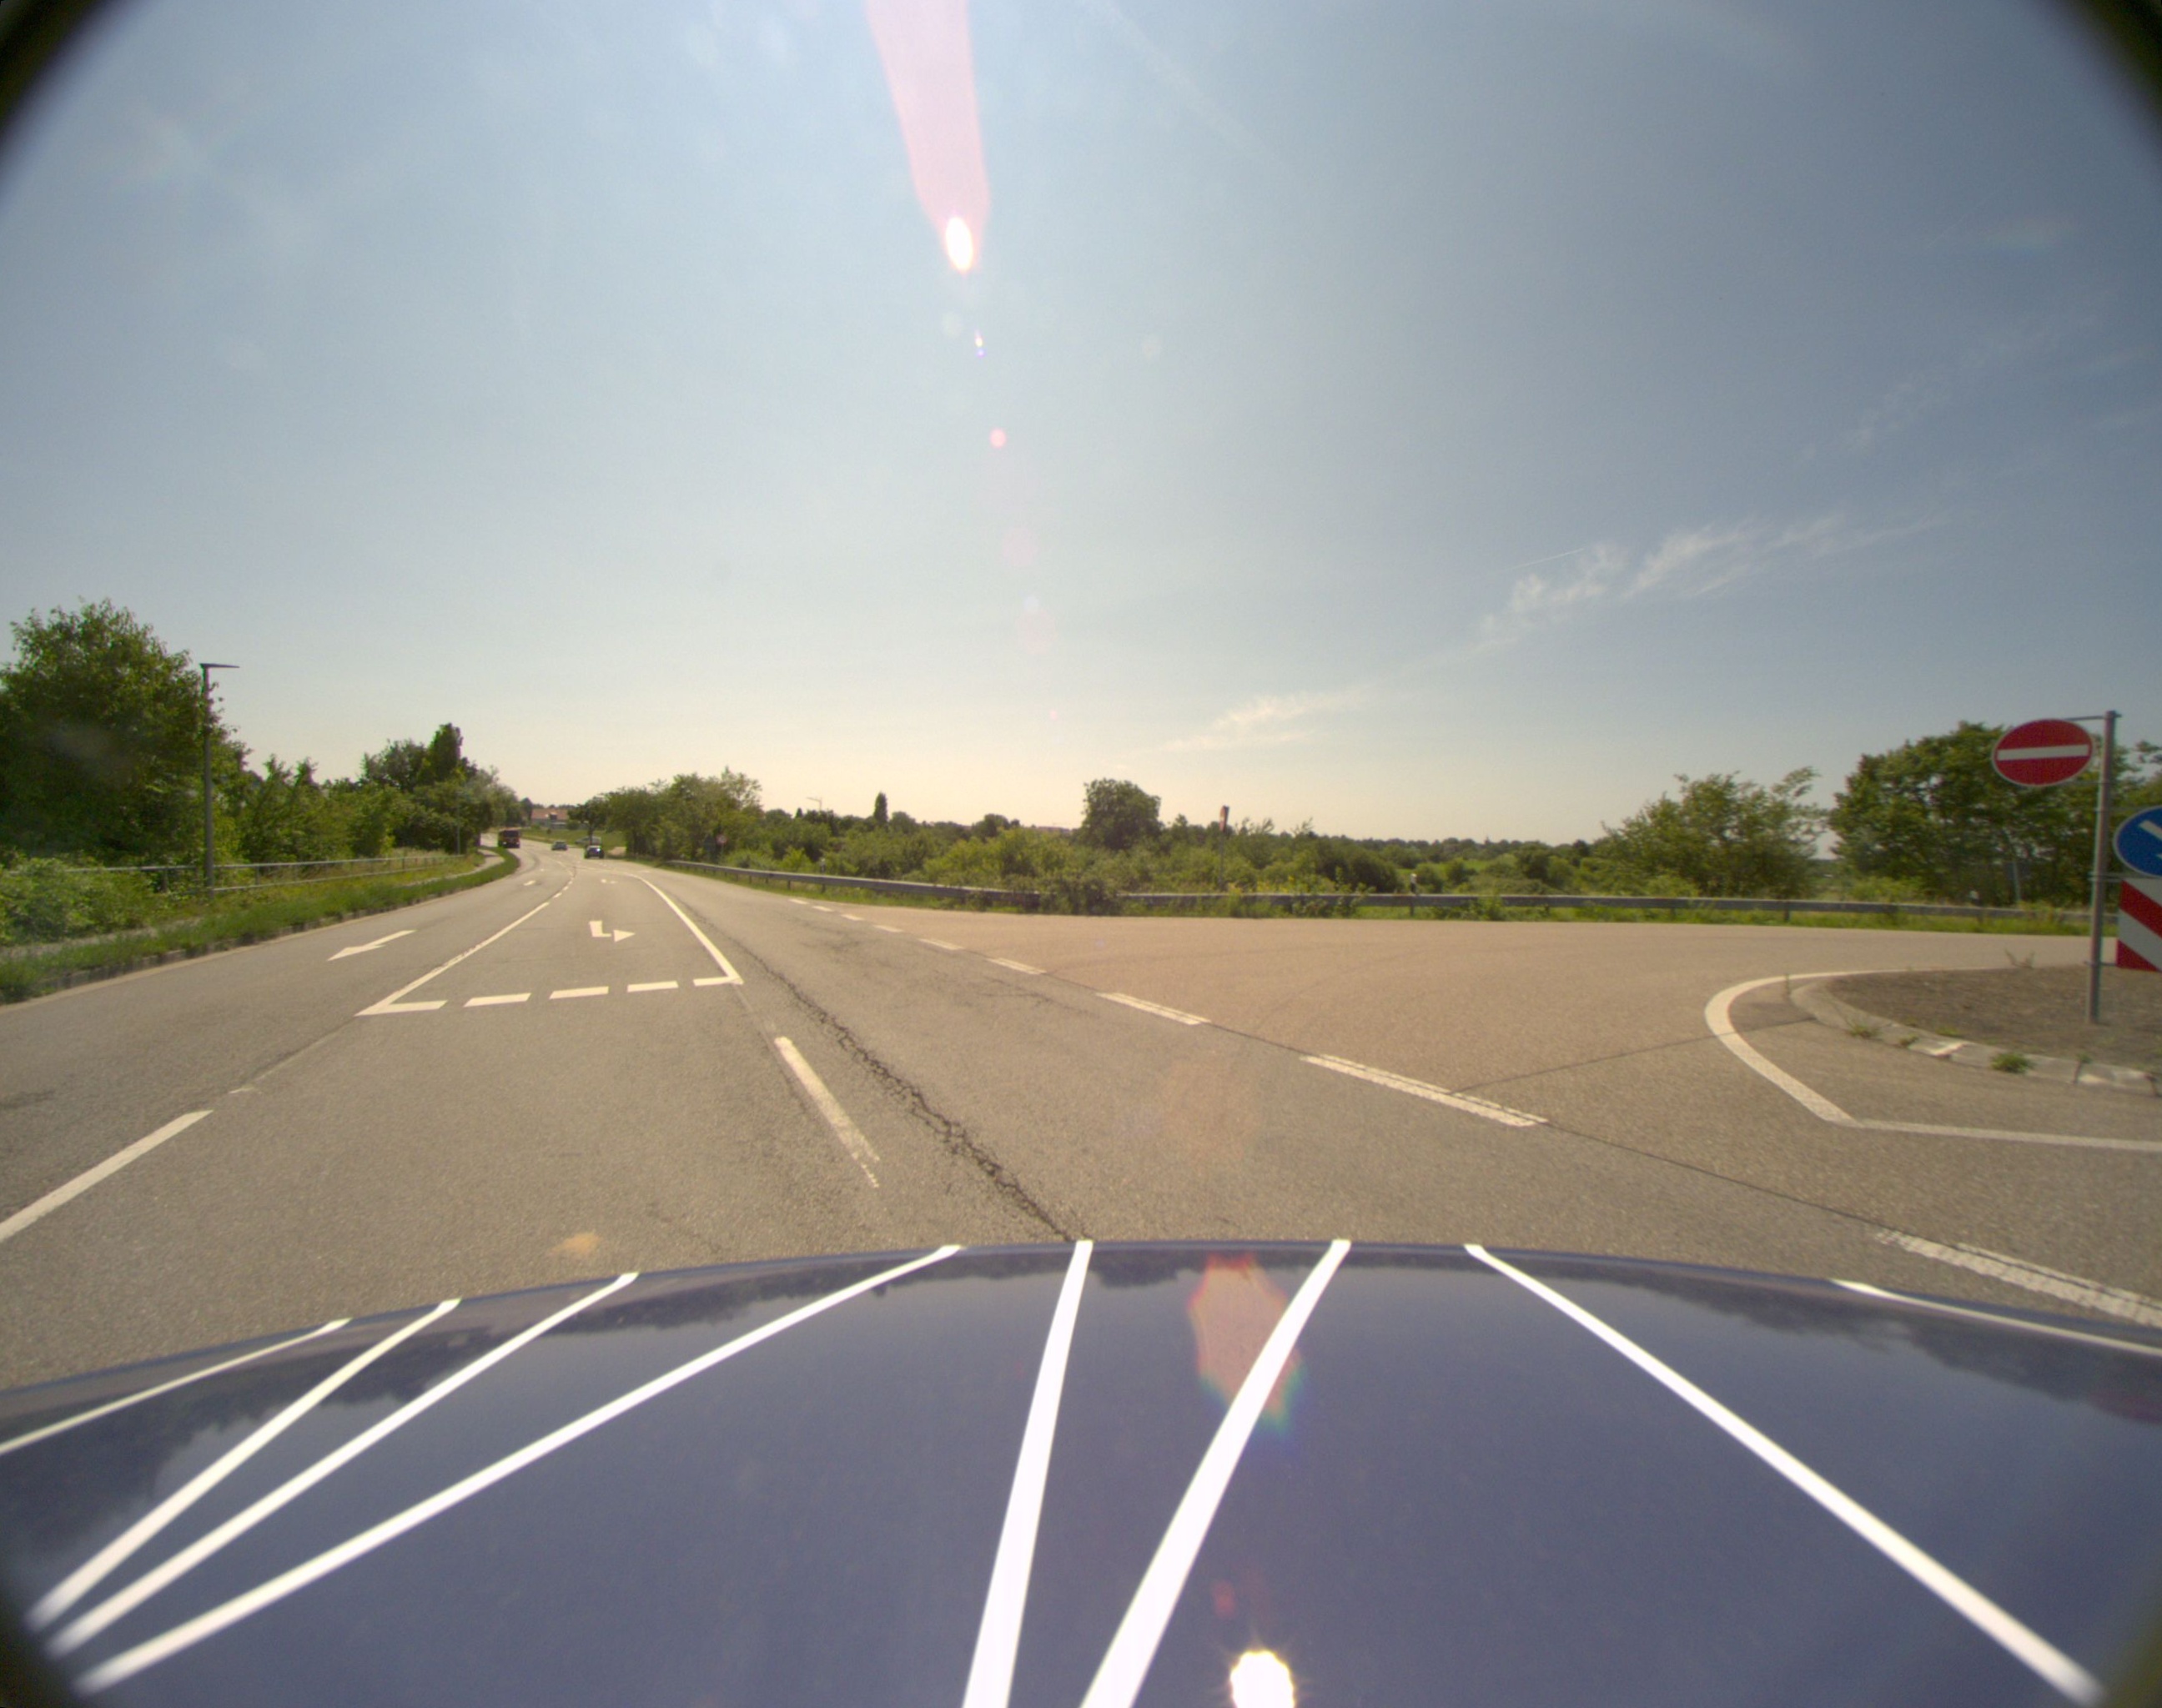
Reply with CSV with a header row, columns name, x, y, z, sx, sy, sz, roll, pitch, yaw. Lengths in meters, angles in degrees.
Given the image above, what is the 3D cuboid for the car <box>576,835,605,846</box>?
name,x,y,z,sx,sy,sz,roll,pitch,yaw
car,-96.043,-2.656,148.830,4.419,2.002,1.996,0,1,-19

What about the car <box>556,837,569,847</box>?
name,x,y,z,sx,sy,sz,roll,pitch,yaw
car,-83.472,-1.944,122.340,1.529,1.564,3.659,0,1,-32

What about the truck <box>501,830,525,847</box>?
name,x,y,z,sx,sy,sz,roll,pitch,yaw
truck,-95.031,-2.584,127.057,2.868,2.772,6.937,-1,2,-40

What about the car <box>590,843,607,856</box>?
name,x,y,z,sx,sy,sz,roll,pitch,yaw
car,-60.790,-0.523,95.739,1.801,1.574,4.479,0,0,-33
